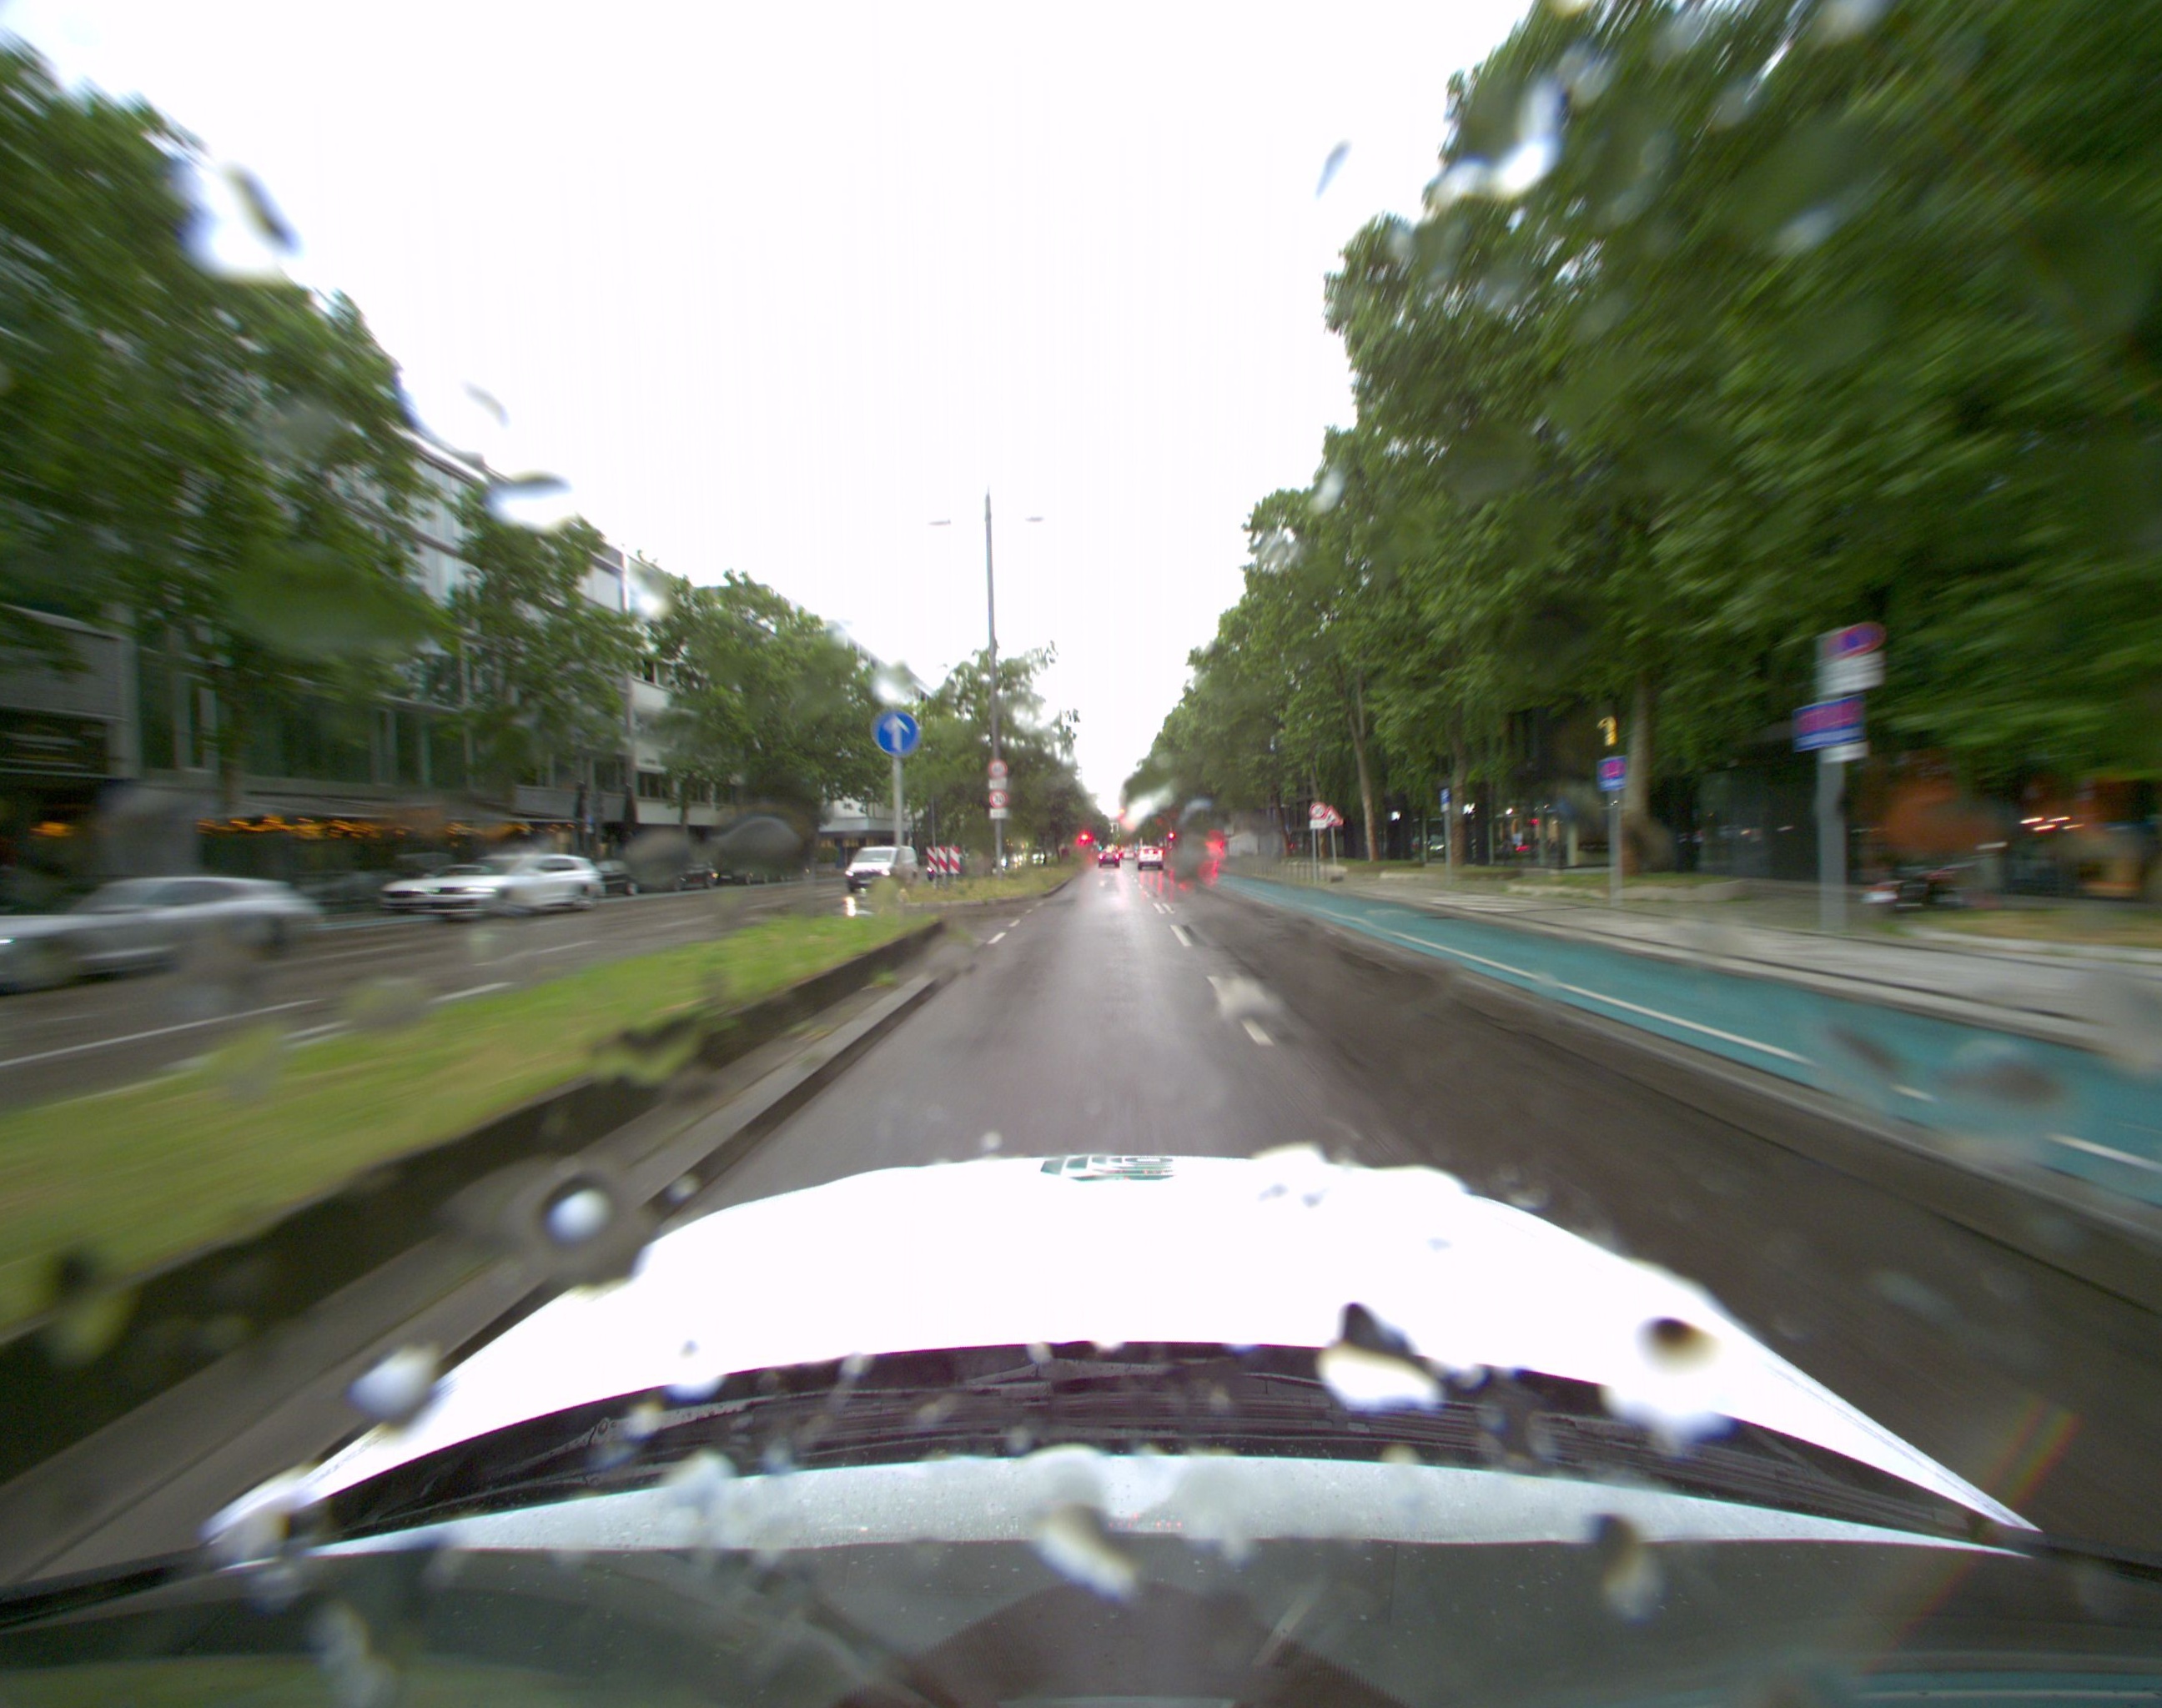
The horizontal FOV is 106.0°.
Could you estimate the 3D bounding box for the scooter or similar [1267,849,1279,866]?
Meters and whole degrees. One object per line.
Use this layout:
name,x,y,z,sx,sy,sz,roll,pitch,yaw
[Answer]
scooter or similar,14.081,0.267,59.650,0.377,1.228,1.086,-1,0,38

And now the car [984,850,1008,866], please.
car,-8.315,0.388,79.969,1.836,1.429,3.644,-1,0,2

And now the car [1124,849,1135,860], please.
car,7.850,0.131,130.988,1.614,1.666,4.002,-2,0,2

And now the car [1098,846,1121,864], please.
car,2.475,0.054,71.156,1.911,1.491,4.002,-1,1,2

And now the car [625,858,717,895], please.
car,-18.060,0.953,36.139,1.686,1.409,4.458,-1,1,2

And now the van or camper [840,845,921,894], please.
van or camper,-8.563,0.594,35.300,1.986,1.913,5.253,-1,1,2

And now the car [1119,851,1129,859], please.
car,7.523,0.156,142.985,1.614,1.374,4.002,-2,0,2

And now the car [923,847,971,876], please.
car,-7.520,0.379,46.007,1.836,1.482,4.398,0,1,2

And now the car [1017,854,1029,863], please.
car,-9.391,0.734,132.073,1.608,1.394,4.186,-1,1,2

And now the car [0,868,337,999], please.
car,-13.641,0.987,11.371,1.961,1.409,4.954,-1,1,-1

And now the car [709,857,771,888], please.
car,-17.737,0.915,42.538,1.687,1.468,3.461,-1,1,2

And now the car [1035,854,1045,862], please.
car,-7.841,0.700,154.760,1.608,1.394,3.599,-1,1,2

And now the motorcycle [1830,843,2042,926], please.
motorcycle,13.630,0.466,13.048,2.299,1.270,1.053,0,0,0

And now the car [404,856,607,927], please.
car,-15.088,0.894,21.734,1.751,1.614,4.558,0,1,8

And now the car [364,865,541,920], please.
car,-18.593,1.070,24.425,1.553,1.353,4.685,0,1,2

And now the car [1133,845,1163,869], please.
car,4.991,0.204,61.111,1.986,1.655,4.891,-1,1,2

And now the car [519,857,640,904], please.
car,-18.349,0.920,30.039,1.830,1.508,4.002,-1,1,2

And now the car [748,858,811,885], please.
car,-17.497,0.988,47.556,1.686,1.409,4.906,-1,1,2
